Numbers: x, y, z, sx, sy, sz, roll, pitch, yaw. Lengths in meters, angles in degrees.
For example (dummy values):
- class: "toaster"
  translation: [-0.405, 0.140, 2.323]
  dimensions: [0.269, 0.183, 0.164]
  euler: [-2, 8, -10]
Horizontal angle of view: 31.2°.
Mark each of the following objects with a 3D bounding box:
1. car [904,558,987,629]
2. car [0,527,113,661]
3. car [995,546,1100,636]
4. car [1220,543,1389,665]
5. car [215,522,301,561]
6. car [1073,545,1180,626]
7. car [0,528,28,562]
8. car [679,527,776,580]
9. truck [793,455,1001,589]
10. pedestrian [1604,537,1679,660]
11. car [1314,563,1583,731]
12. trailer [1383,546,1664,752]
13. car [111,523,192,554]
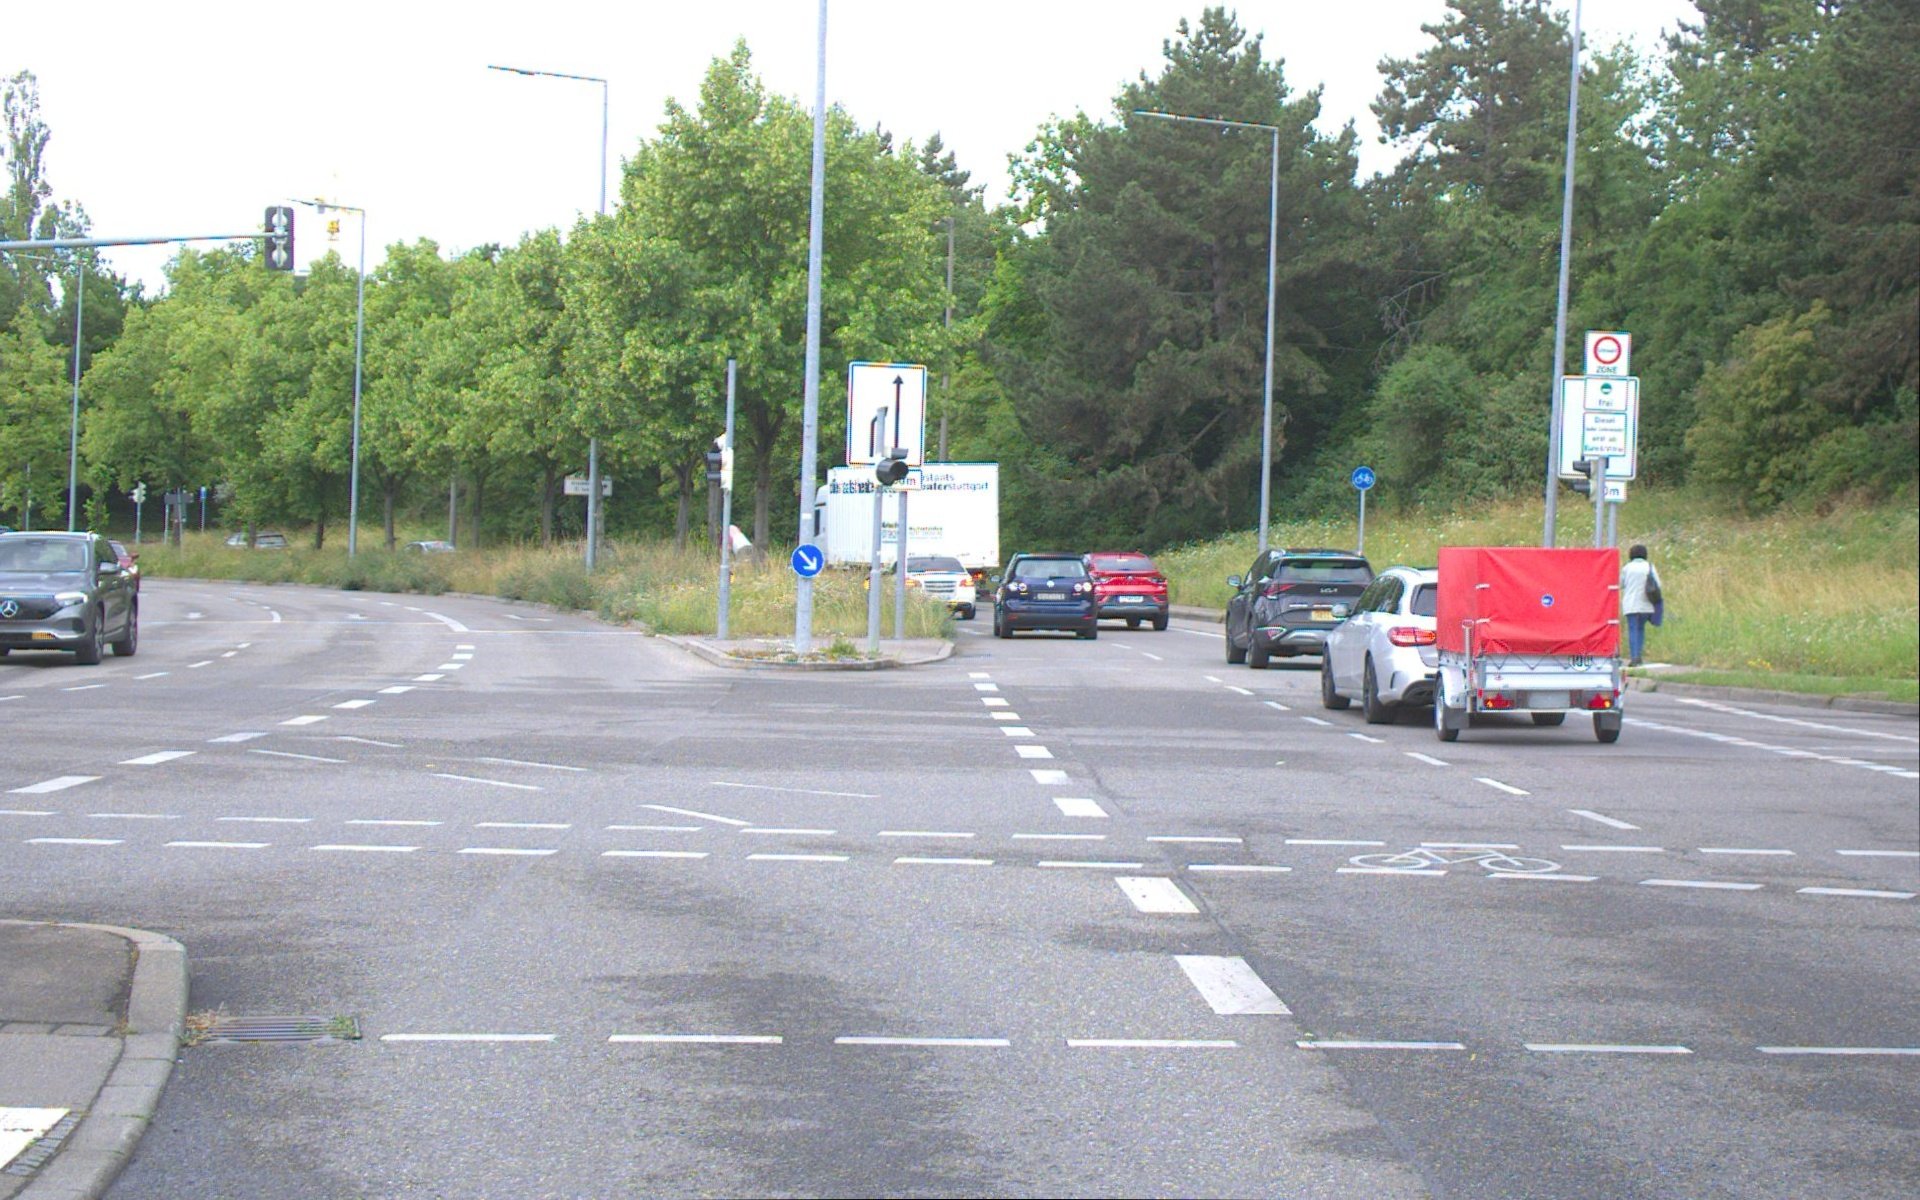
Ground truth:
- class: "car"
  translation: [-0.355, -0.169, 79.560]
  dimensions: [1.778, 1.541, 4.025]
  euler: [1, 1, -2]
- class: "car"
  translation: [-11.432, -0.116, 42.243]
  dimensions: [1.777, 1.541, 4.226]
  euler: [1, 1, -11]
- class: "car"
  translation: [1.620, -0.192, 62.441]
  dimensions: [1.778, 1.541, 4.024]
  euler: [1, 1, 3]
- class: "car"
  translation: [4.671, 0.020, 47.099]
  dimensions: [1.778, 1.541, 4.025]
  euler: [1, 1, -2]
- class: "car"
  translation: [-28.638, -2.400, 140.236]
  dimensions: [1.778, 1.541, 4.024]
  euler: [0, 2, -39]
- class: "car"
  translation: [3.367, -0.316, 70.107]
  dimensions: [1.778, 1.541, 4.025]
  euler: [1, 1, -3]
- class: "car"
  translation: [-44.190, -2.509, 155.614]
  dimensions: [4.020, 1.541, 1.780]
  euler: [2, 2, 37]
- class: "car"
  translation: [-7.175, -1.445, 105.620]
  dimensions: [1.777, 1.541, 4.026]
  euler: [0, 1, -22]
- class: "truck"
  translation: [-1.830, -2.094, 91.403]
  dimensions: [2.739, 3.317, 11.411]
  euler: [0, 1, -16]
- class: "pedestrian"
  translation: [9.153, -0.031, 46.192]
  dimensions: [0.814, 1.622, 0.791]
  euler: [1, 1, -1]
- class: "car"
  translation: [4.574, 0.397, 32.819]
  dimensions: [1.778, 1.416, 4.459]
  euler: [1, 1, -2]
- class: "trailer"
  translation: [4.698, 0.371, 29.058]
  dimensions: [1.764, 1.610, 3.044]
  euler: [1, 1, -2]
- class: "car"
  translation: [-41.611, -3.153, 176.923]
  dimensions: [1.781, 1.541, 4.018]
  euler: [1, 1, 30]
